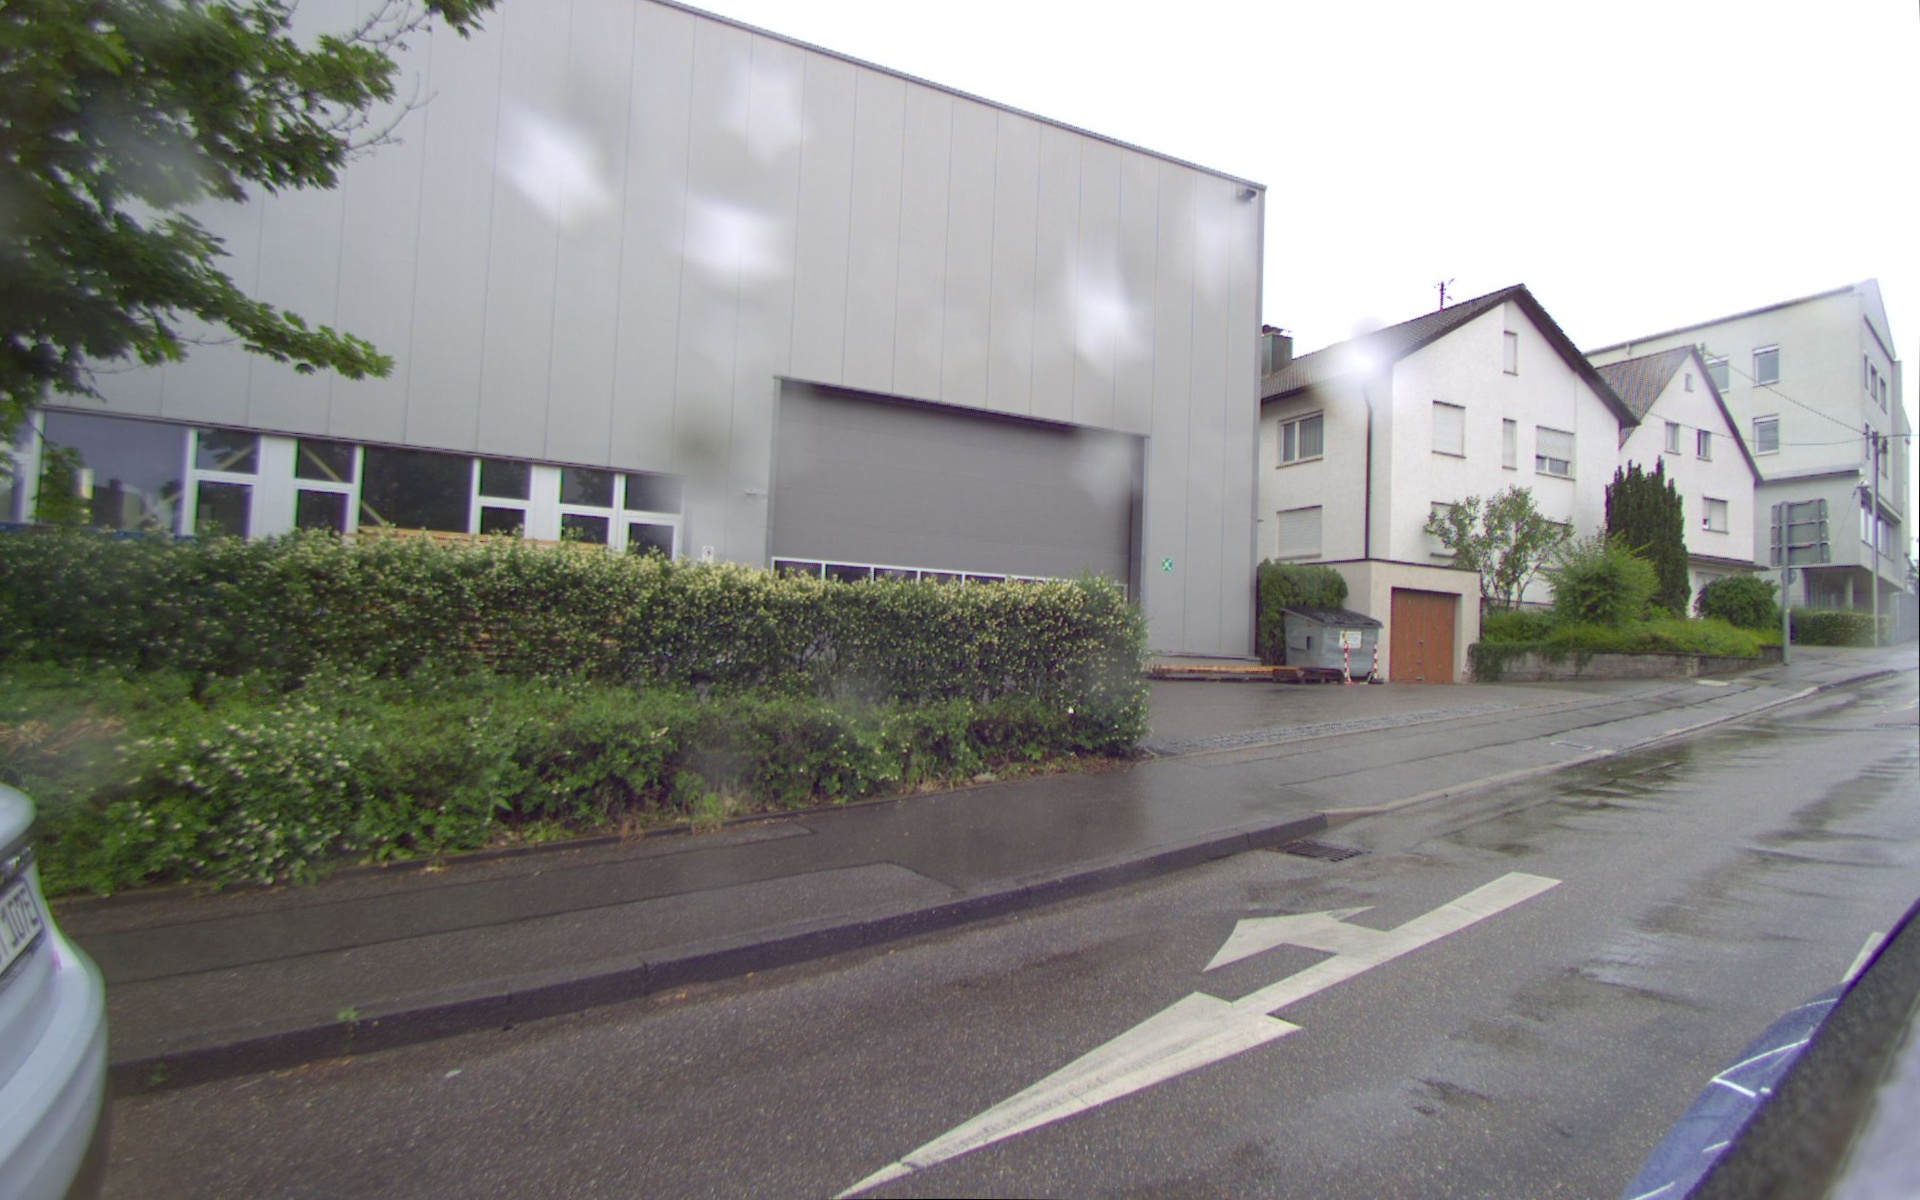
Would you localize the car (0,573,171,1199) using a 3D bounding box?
[{"bbox_3d":[-3.228,0.695,0.849,3.829,1.574,1.695,2,-1,-32],"label":"car"}]

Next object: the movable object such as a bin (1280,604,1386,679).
[{"bbox_3d":[8.033,0.880,21.863,1.556,1.555,1.451,2,-1,-25],"label":"movable object such as a bin"}]
